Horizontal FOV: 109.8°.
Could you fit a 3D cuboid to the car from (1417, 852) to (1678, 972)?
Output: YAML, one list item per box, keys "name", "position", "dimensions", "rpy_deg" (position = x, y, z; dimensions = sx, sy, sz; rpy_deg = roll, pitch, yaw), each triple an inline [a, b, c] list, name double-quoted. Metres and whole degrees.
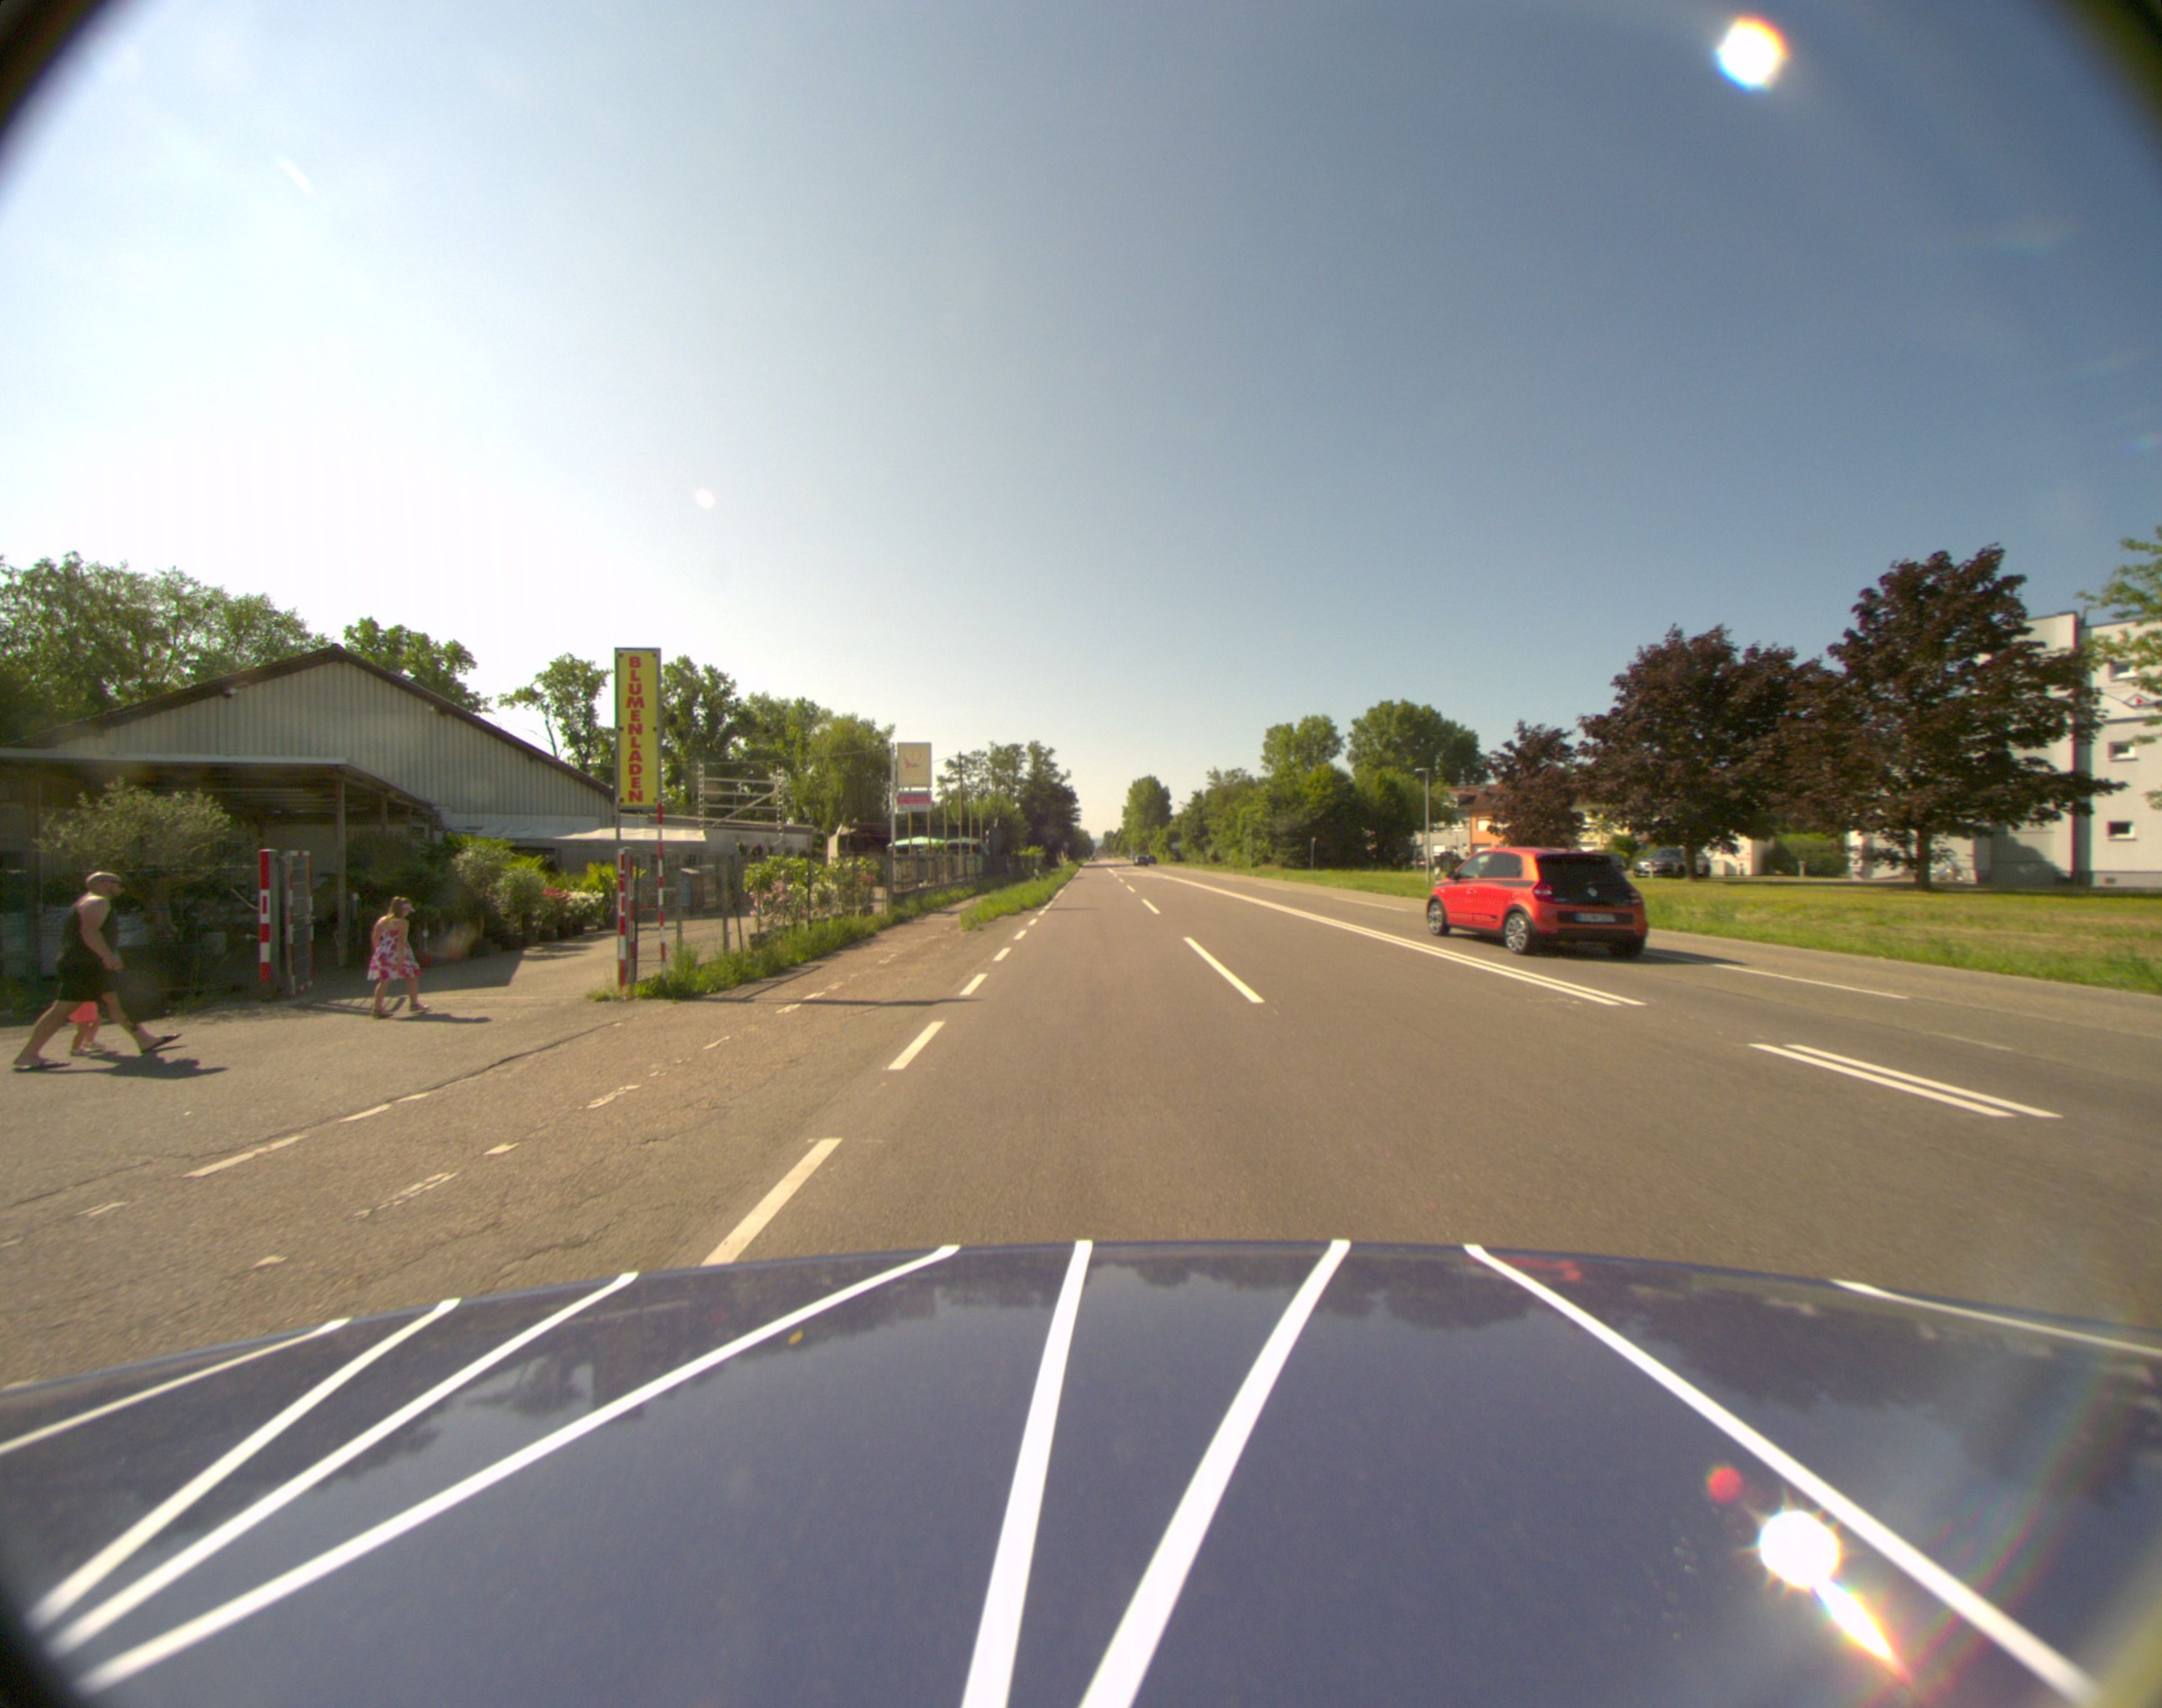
- name: "car"
  position: [6.866, 0.747, 11.723]
  dimensions: [1.654, 1.489, 3.844]
  rpy_deg: [2, 0, 1]

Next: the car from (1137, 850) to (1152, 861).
- name: "car"
  position: [8.392, 0.245, 100.804]
  dimensions: [1.768, 1.403, 4.174]
  rpy_deg: [0, -1, 2]

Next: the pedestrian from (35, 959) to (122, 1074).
- name: "pedestrian"
  position: [-9.388, 1.507, 7.117]
  dimensions: [0.469, 0.978, 0.339]
  rpy_deg: [0, 1, 18]

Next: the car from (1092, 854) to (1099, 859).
- name: "car"
  position: [3.894, 0.625, 200.981]
  dimensions: [1.768, 1.403, 4.001]
  rpy_deg: [0, -1, 2]

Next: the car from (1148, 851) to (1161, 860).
- name: "car"
  position: [11.777, 0.194, 121.790]
  dimensions: [1.768, 1.403, 4.001]
  rpy_deg: [0, -1, 2]

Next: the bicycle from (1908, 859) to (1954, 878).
- name: "bicycle"
  position: [36.625, 0.630, 32.745]
  dimensions: [0.411, 0.807, 1.246]
  rpy_deg: [-1, 0, -23]

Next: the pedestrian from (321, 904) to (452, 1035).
- name: "pedestrian"
  position: [-7.868, 1.270, 8.641]
  dimensions: [0.723, 1.330, 0.827]
  rpy_deg: [0, 1, 18]

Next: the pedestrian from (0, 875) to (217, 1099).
- name: "pedestrian"
  position: [-8.669, 1.092, 6.740]
  dimensions: [1.098, 1.775, 0.938]
  rpy_deg: [0, 1, 18]

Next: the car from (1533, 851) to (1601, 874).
- name: "car"
  position: [29.503, 0.502, 46.113]
  dimensions: [4.006, 1.362, 1.818]
  rpy_deg: [0, -1, -29]

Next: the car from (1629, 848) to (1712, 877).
- name: "car"
  position: [29.250, 0.429, 37.669]
  dimensions: [4.006, 1.362, 1.818]
  rpy_deg: [0, -1, -29]
